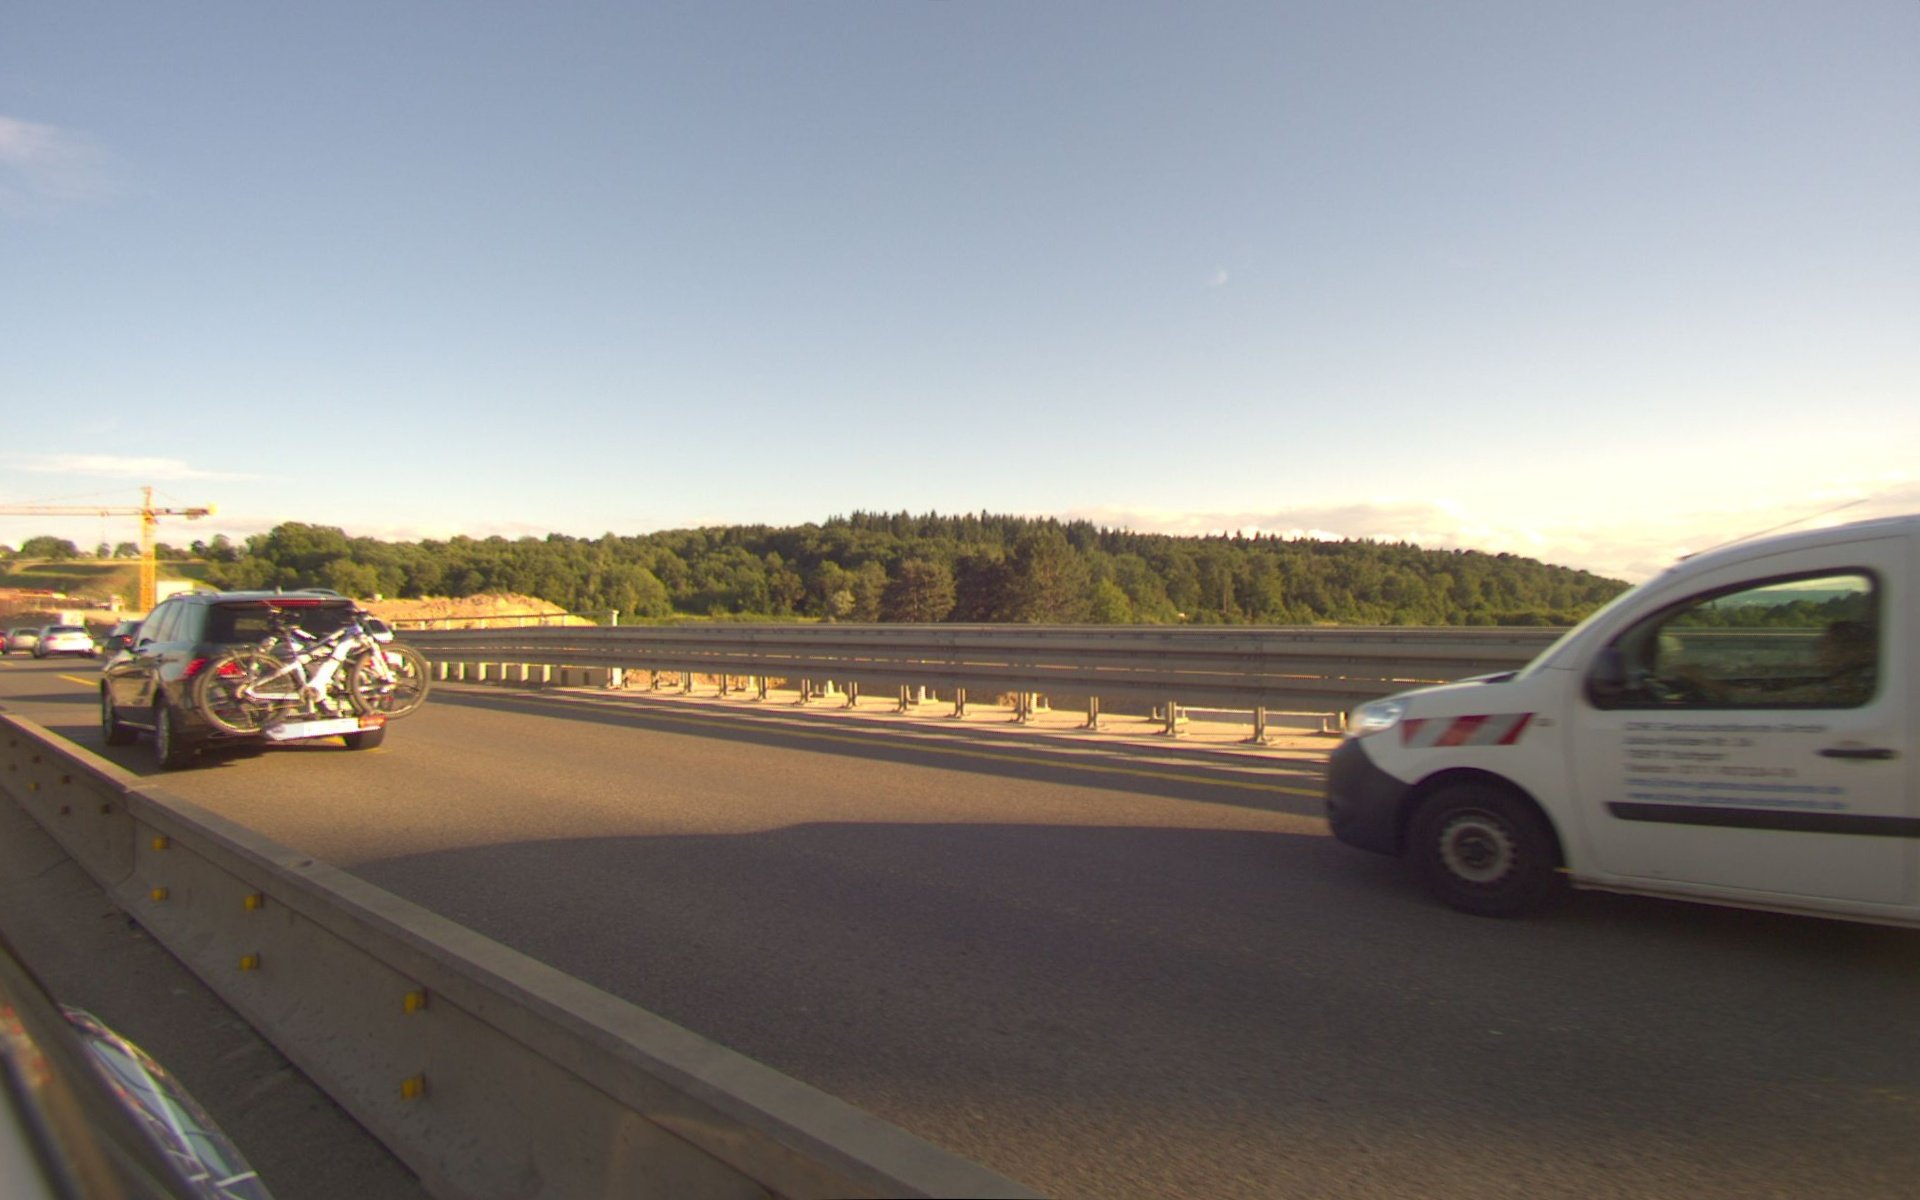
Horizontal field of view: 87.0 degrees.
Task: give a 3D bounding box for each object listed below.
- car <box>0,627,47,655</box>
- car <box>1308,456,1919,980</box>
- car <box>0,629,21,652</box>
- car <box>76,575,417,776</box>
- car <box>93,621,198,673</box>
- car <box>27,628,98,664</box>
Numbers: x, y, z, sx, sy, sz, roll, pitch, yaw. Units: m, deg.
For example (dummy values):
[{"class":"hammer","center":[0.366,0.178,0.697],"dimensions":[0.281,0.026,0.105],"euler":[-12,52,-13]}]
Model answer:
[{"class":"car","center":[-52.337,2.278,56.443],"dimensions":[4.578,1.433,1.659],"euler":[-3,-1,42]},{"class":"car","center":[4.010,0.432,4.422],"dimensions":[4.280,1.870,1.973],"euler":[-2,-2,41]},{"class":"car","center":[-67.401,2.888,71.117],"dimensions":[3.999,1.583,1.761],"euler":[-3,-2,42]},{"class":"car","center":[-7.973,0.699,11.133],"dimensions":[4.668,1.767,1.910],"euler":[-2,0,40]},{"class":"car","center":[-24.056,1.344,29.844],"dimensions":[4.307,1.415,1.757],"euler":[-2,-2,42]},{"class":"car","center":[-37.928,1.907,42.727],"dimensions":[4.531,1.393,1.755],"euler":[-1,-1,42]}]
